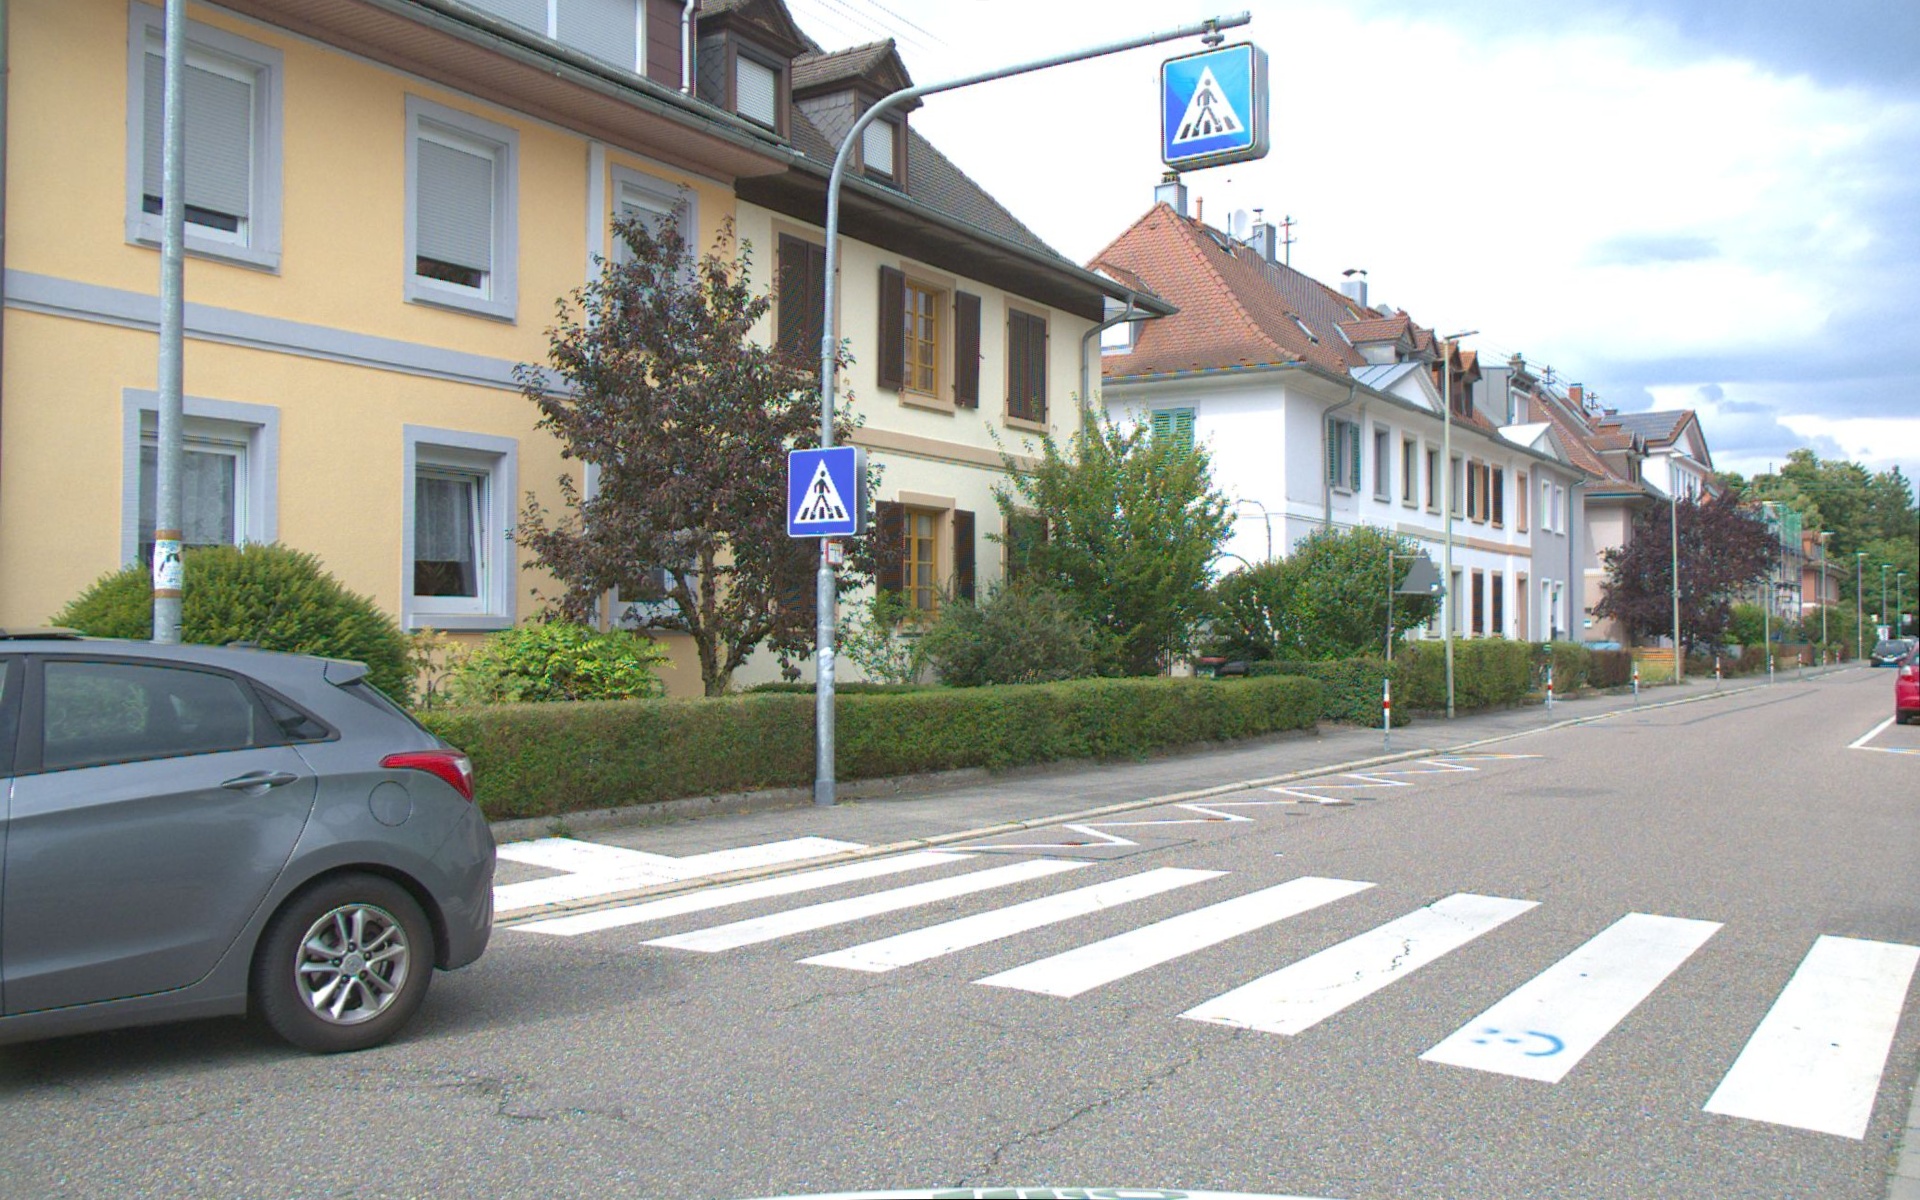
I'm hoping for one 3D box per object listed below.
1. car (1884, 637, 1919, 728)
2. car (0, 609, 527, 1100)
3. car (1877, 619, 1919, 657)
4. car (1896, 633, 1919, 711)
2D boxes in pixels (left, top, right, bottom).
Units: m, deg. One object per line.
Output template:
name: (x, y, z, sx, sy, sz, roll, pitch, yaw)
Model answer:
car: (18.504, 1.497, 30.872, 1.958, 1.602, 3.989, -1, -1, 33)
car: (-3.725, 0.791, 5.615, 4.007, 1.507, 1.826, 1, -2, -42)
car: (51.450, 2.058, 90.523, 1.958, 2.049, 3.989, -1, -1, 33)
car: (21.220, 1.507, 35.300, 1.958, 1.602, 3.989, -1, -1, 33)
